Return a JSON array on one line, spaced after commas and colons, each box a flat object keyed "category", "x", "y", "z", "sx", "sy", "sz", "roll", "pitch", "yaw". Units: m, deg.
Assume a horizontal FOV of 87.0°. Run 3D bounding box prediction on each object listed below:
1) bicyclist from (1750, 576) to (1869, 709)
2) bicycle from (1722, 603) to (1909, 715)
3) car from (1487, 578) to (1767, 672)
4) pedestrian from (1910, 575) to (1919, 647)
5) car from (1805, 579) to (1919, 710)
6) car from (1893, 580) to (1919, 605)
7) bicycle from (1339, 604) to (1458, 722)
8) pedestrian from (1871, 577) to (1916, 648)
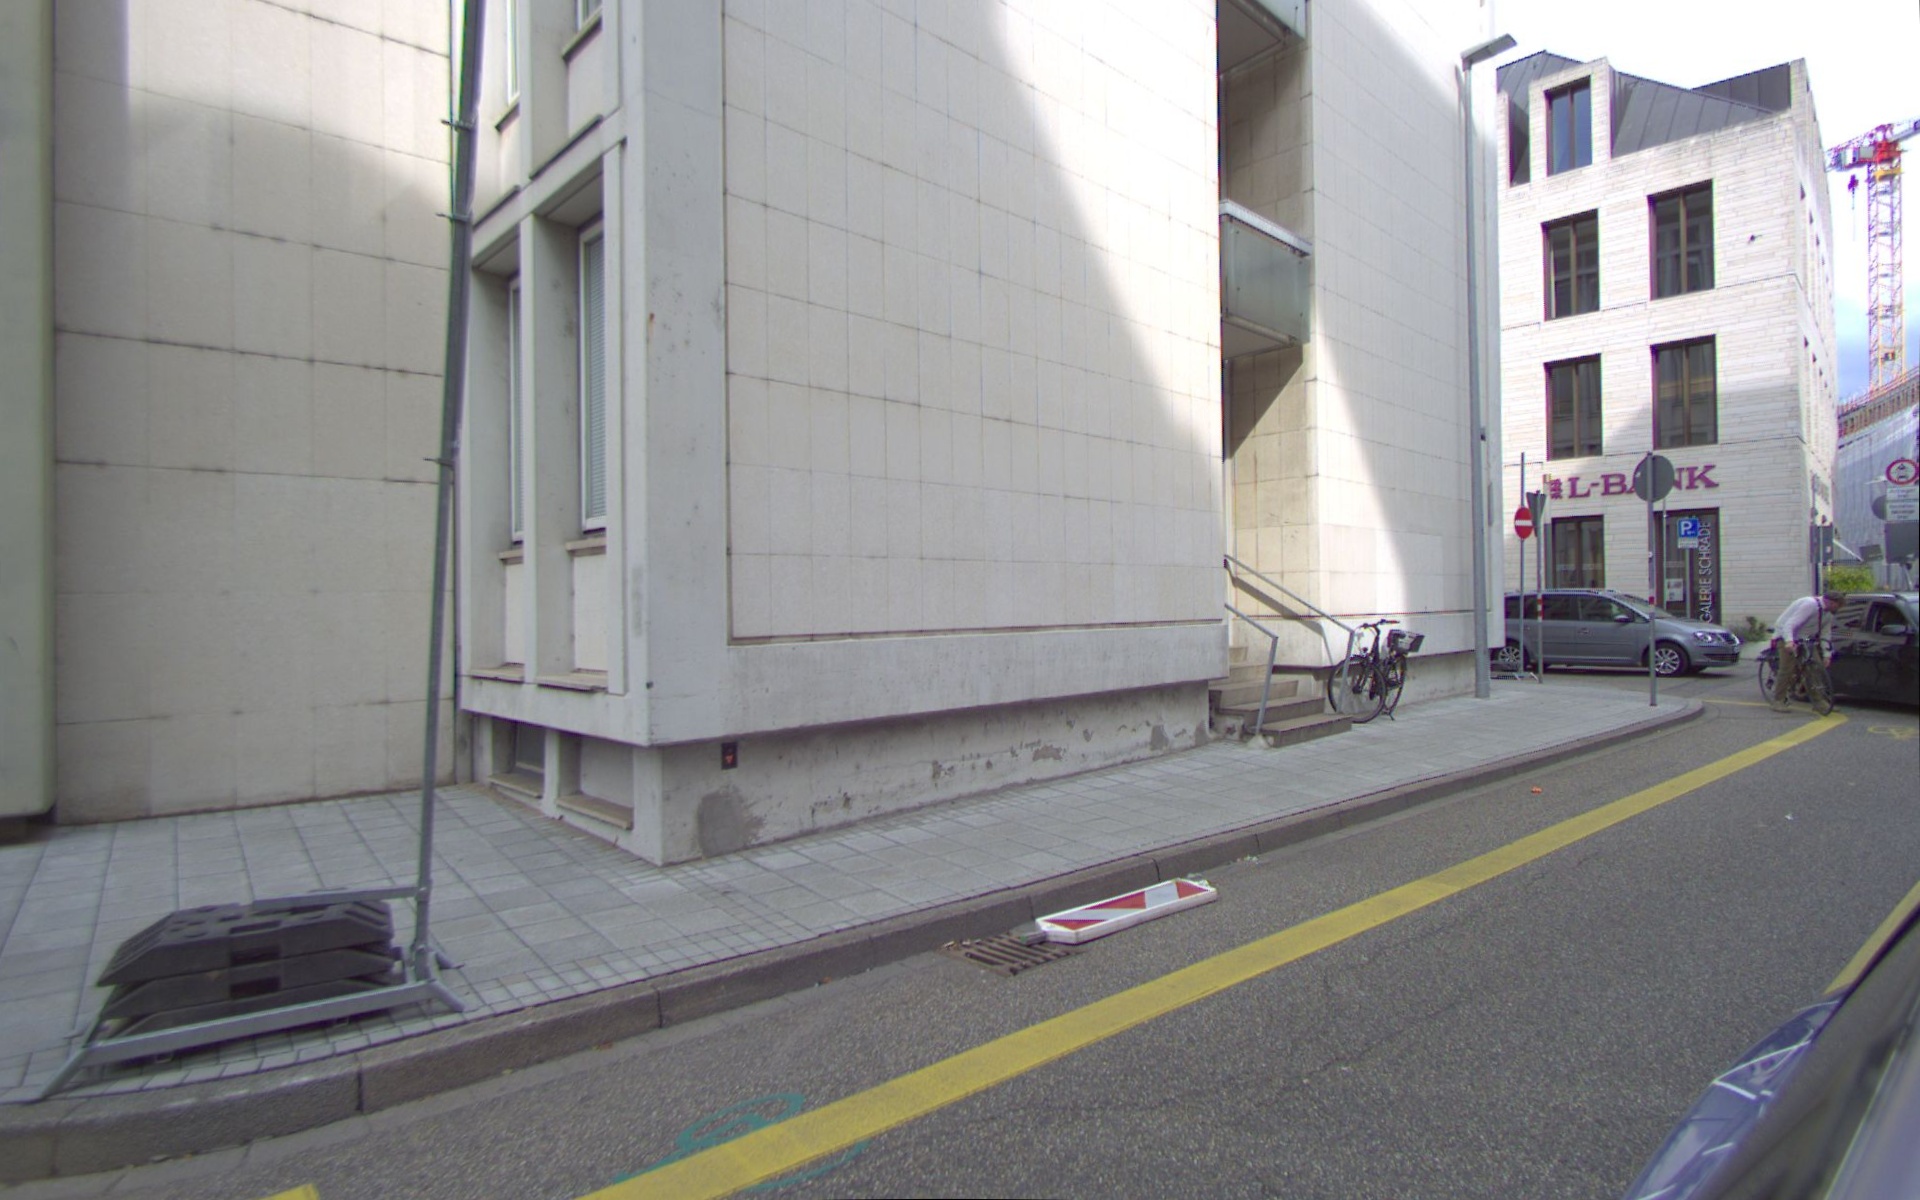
[{"category": "bicyclist", "x": 10.765, "y": 0.514, "z": 12.863, "sx": 0.881, "sy": 1.614, "sz": 0.872, "roll": -1, "pitch": 0, "yaw": 20}, {"category": "bicycle", "x": 10.790, "y": 0.671, "z": 12.932, "sx": 0.860, "sy": 1.209, "sz": 2.846, "roll": -1, "pitch": 1, "yaw": 20}, {"category": "car", "x": 12.726, "y": 0.412, "z": 19.518, "sx": 1.784, "sy": 1.610, "sz": 4.188, "roll": -1, "pitch": 1, "yaw": -41}, {"category": "pedestrian", "x": 25.446, "y": 0.282, "z": 26.362, "sx": 0.759, "sy": 1.854, "sz": 0.862, "roll": -1, "pitch": 0, "yaw": -32}, {"category": "car", "x": 12.004, "y": 0.501, "z": 11.782, "sx": 1.690, "sy": 1.509, "sz": 3.752, "roll": -1, "pitch": 0, "yaw": 11}, {"category": "car", "x": 59.242, "y": -0.500, "z": 62.695, "sx": 1.579, "sy": 1.504, "sz": 3.950, "roll": -1, "pitch": 1, "yaw": 35}, {"category": "bicycle", "x": 4.922, "y": 0.658, "z": 11.301, "sx": 1.785, "sy": 1.182, "sz": 0.589, "roll": -1, "pitch": 1, "yaw": -44}, {"category": "pedestrian", "x": 25.153, "y": 0.321, "z": 27.258, "sx": 0.859, "sy": 1.854, "sz": 0.762, "roll": -1, "pitch": 0, "yaw": 44}]
